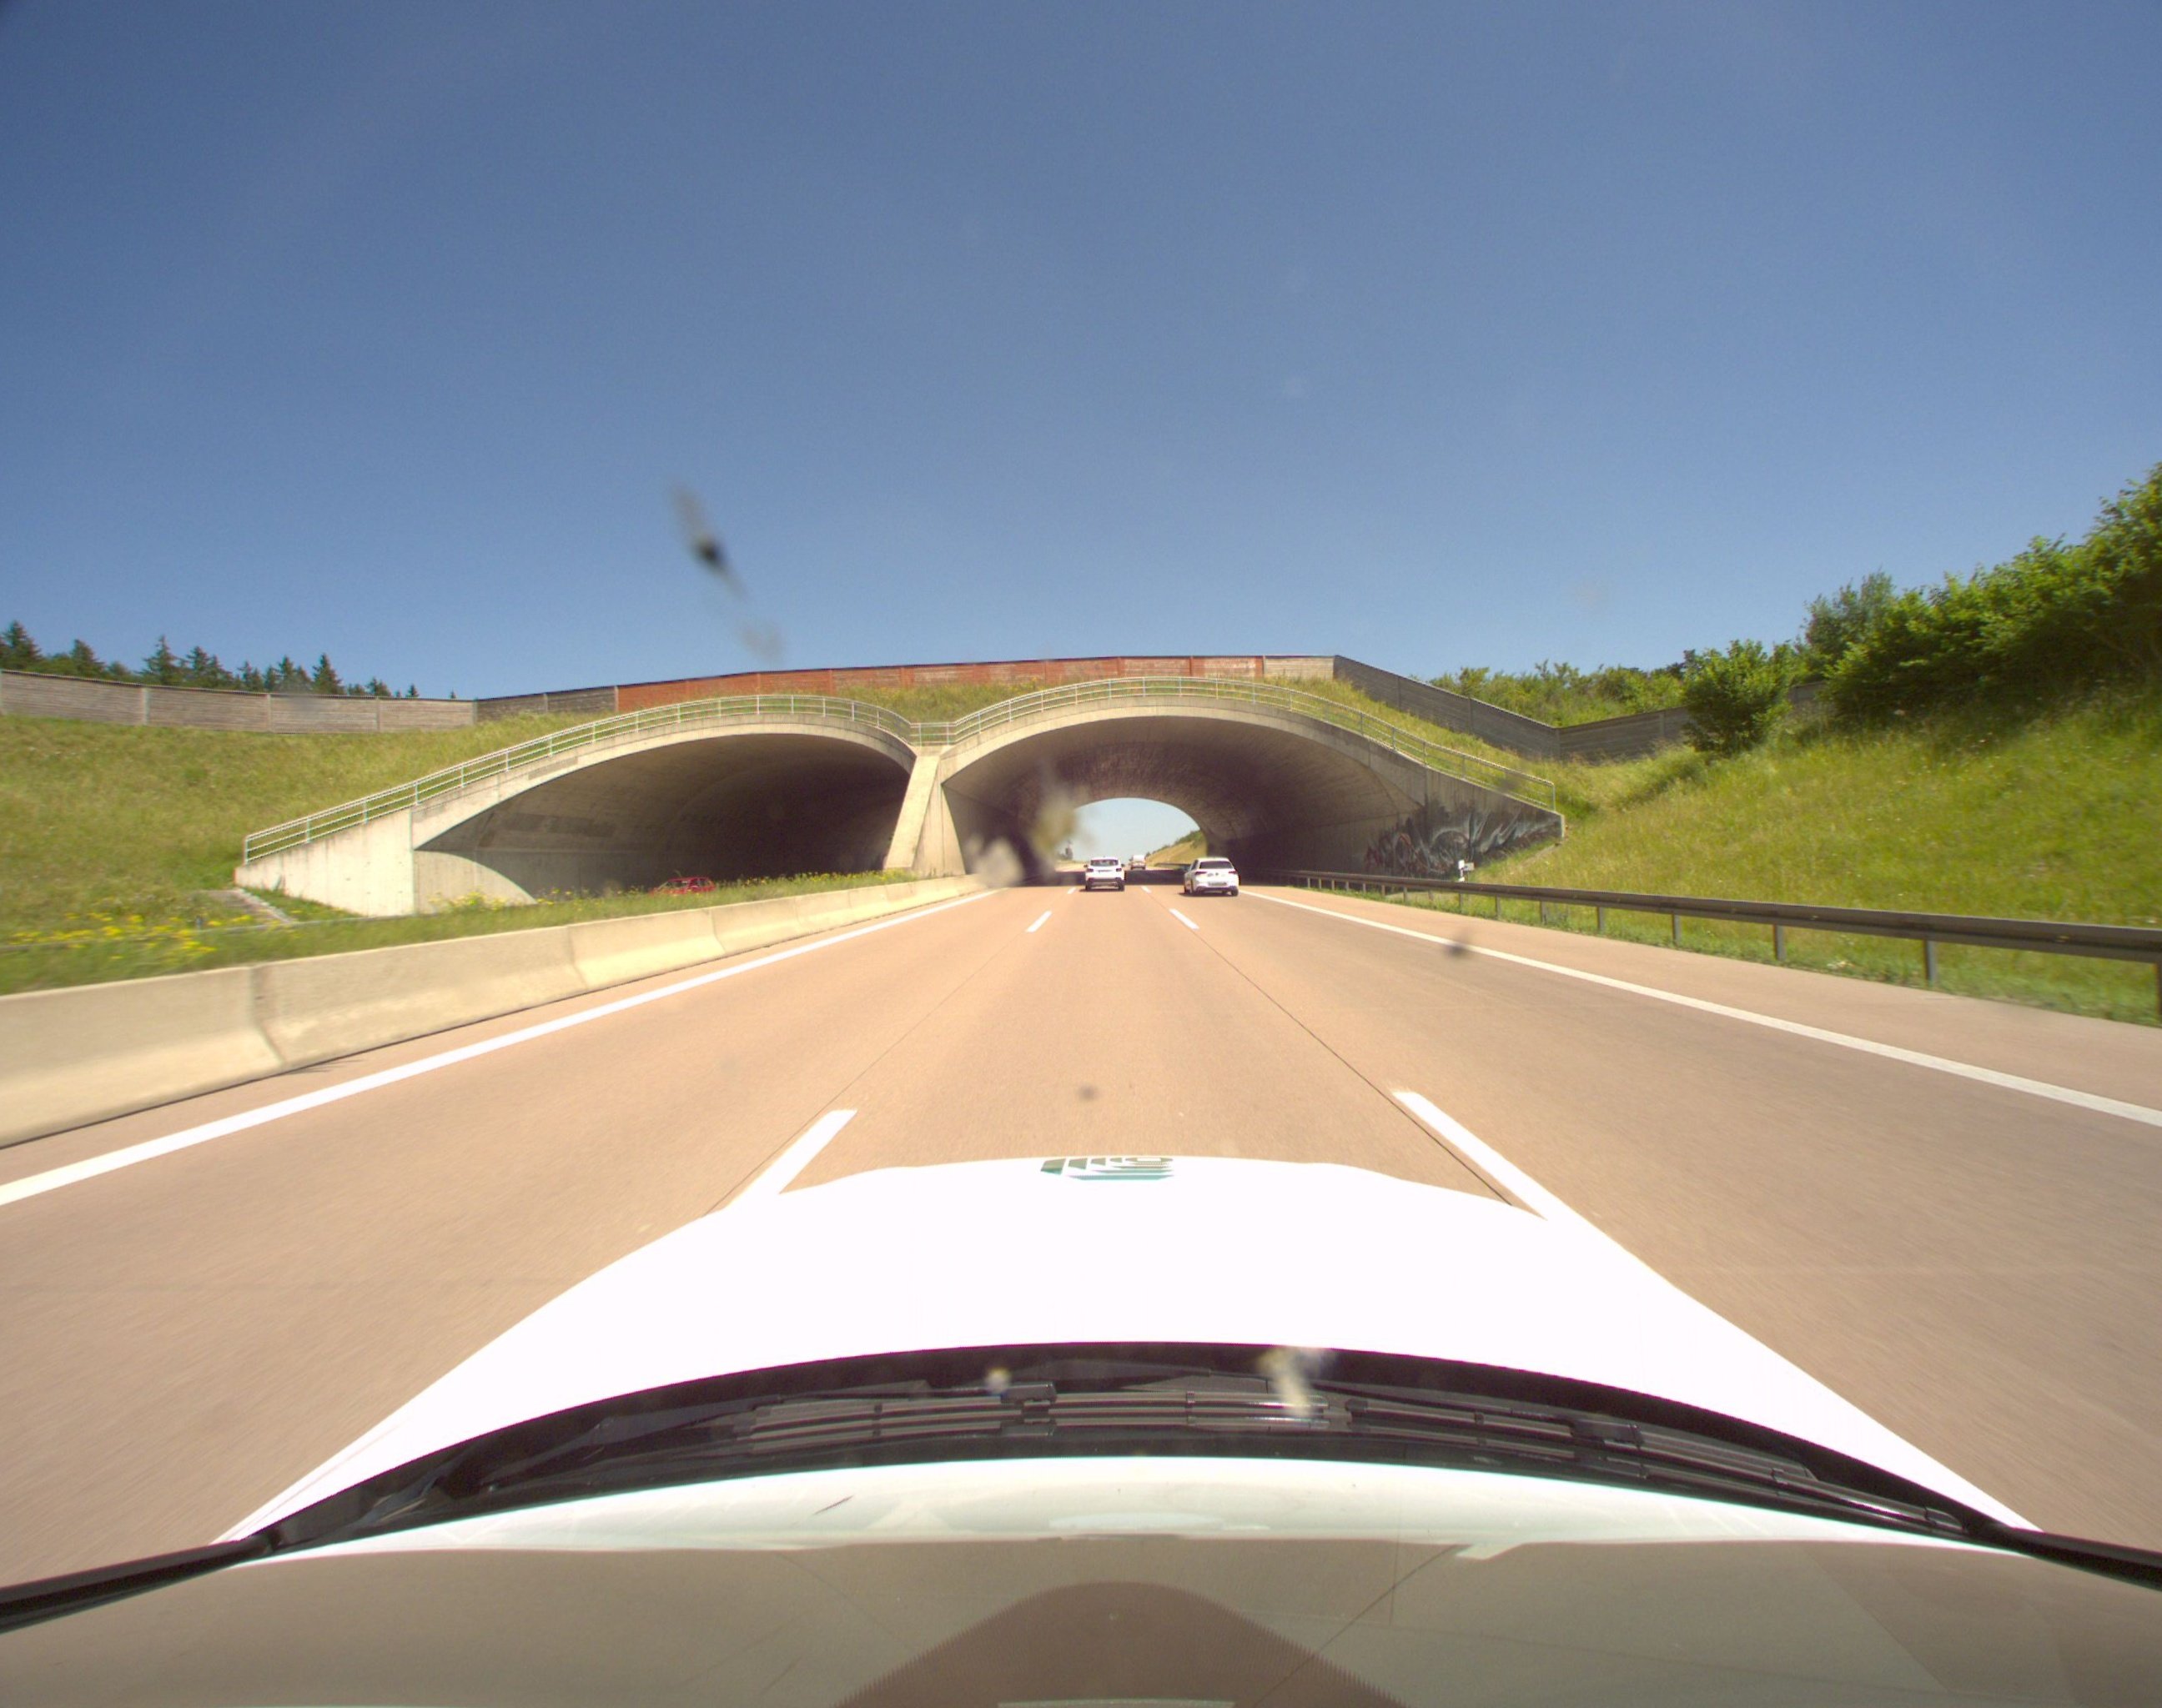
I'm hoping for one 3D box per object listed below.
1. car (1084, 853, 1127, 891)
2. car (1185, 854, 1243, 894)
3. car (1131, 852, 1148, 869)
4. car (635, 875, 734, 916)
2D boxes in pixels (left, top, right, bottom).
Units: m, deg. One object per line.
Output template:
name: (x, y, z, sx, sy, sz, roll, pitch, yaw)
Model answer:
car: (1.142, 0.797, 38.045, 1.872, 1.607, 4.835, -1, 0, 2)
car: (5.097, 0.737, 31.652, 1.882, 1.398, 4.004, 0, 1, 4)
car: (7.621, 0.810, 105.947, 2.101, 2.053, 4.004, -1, 1, 4)
car: (-17.953, 1.832, 37.194, 1.883, 1.594, 4.980, -1, 0, 2)
